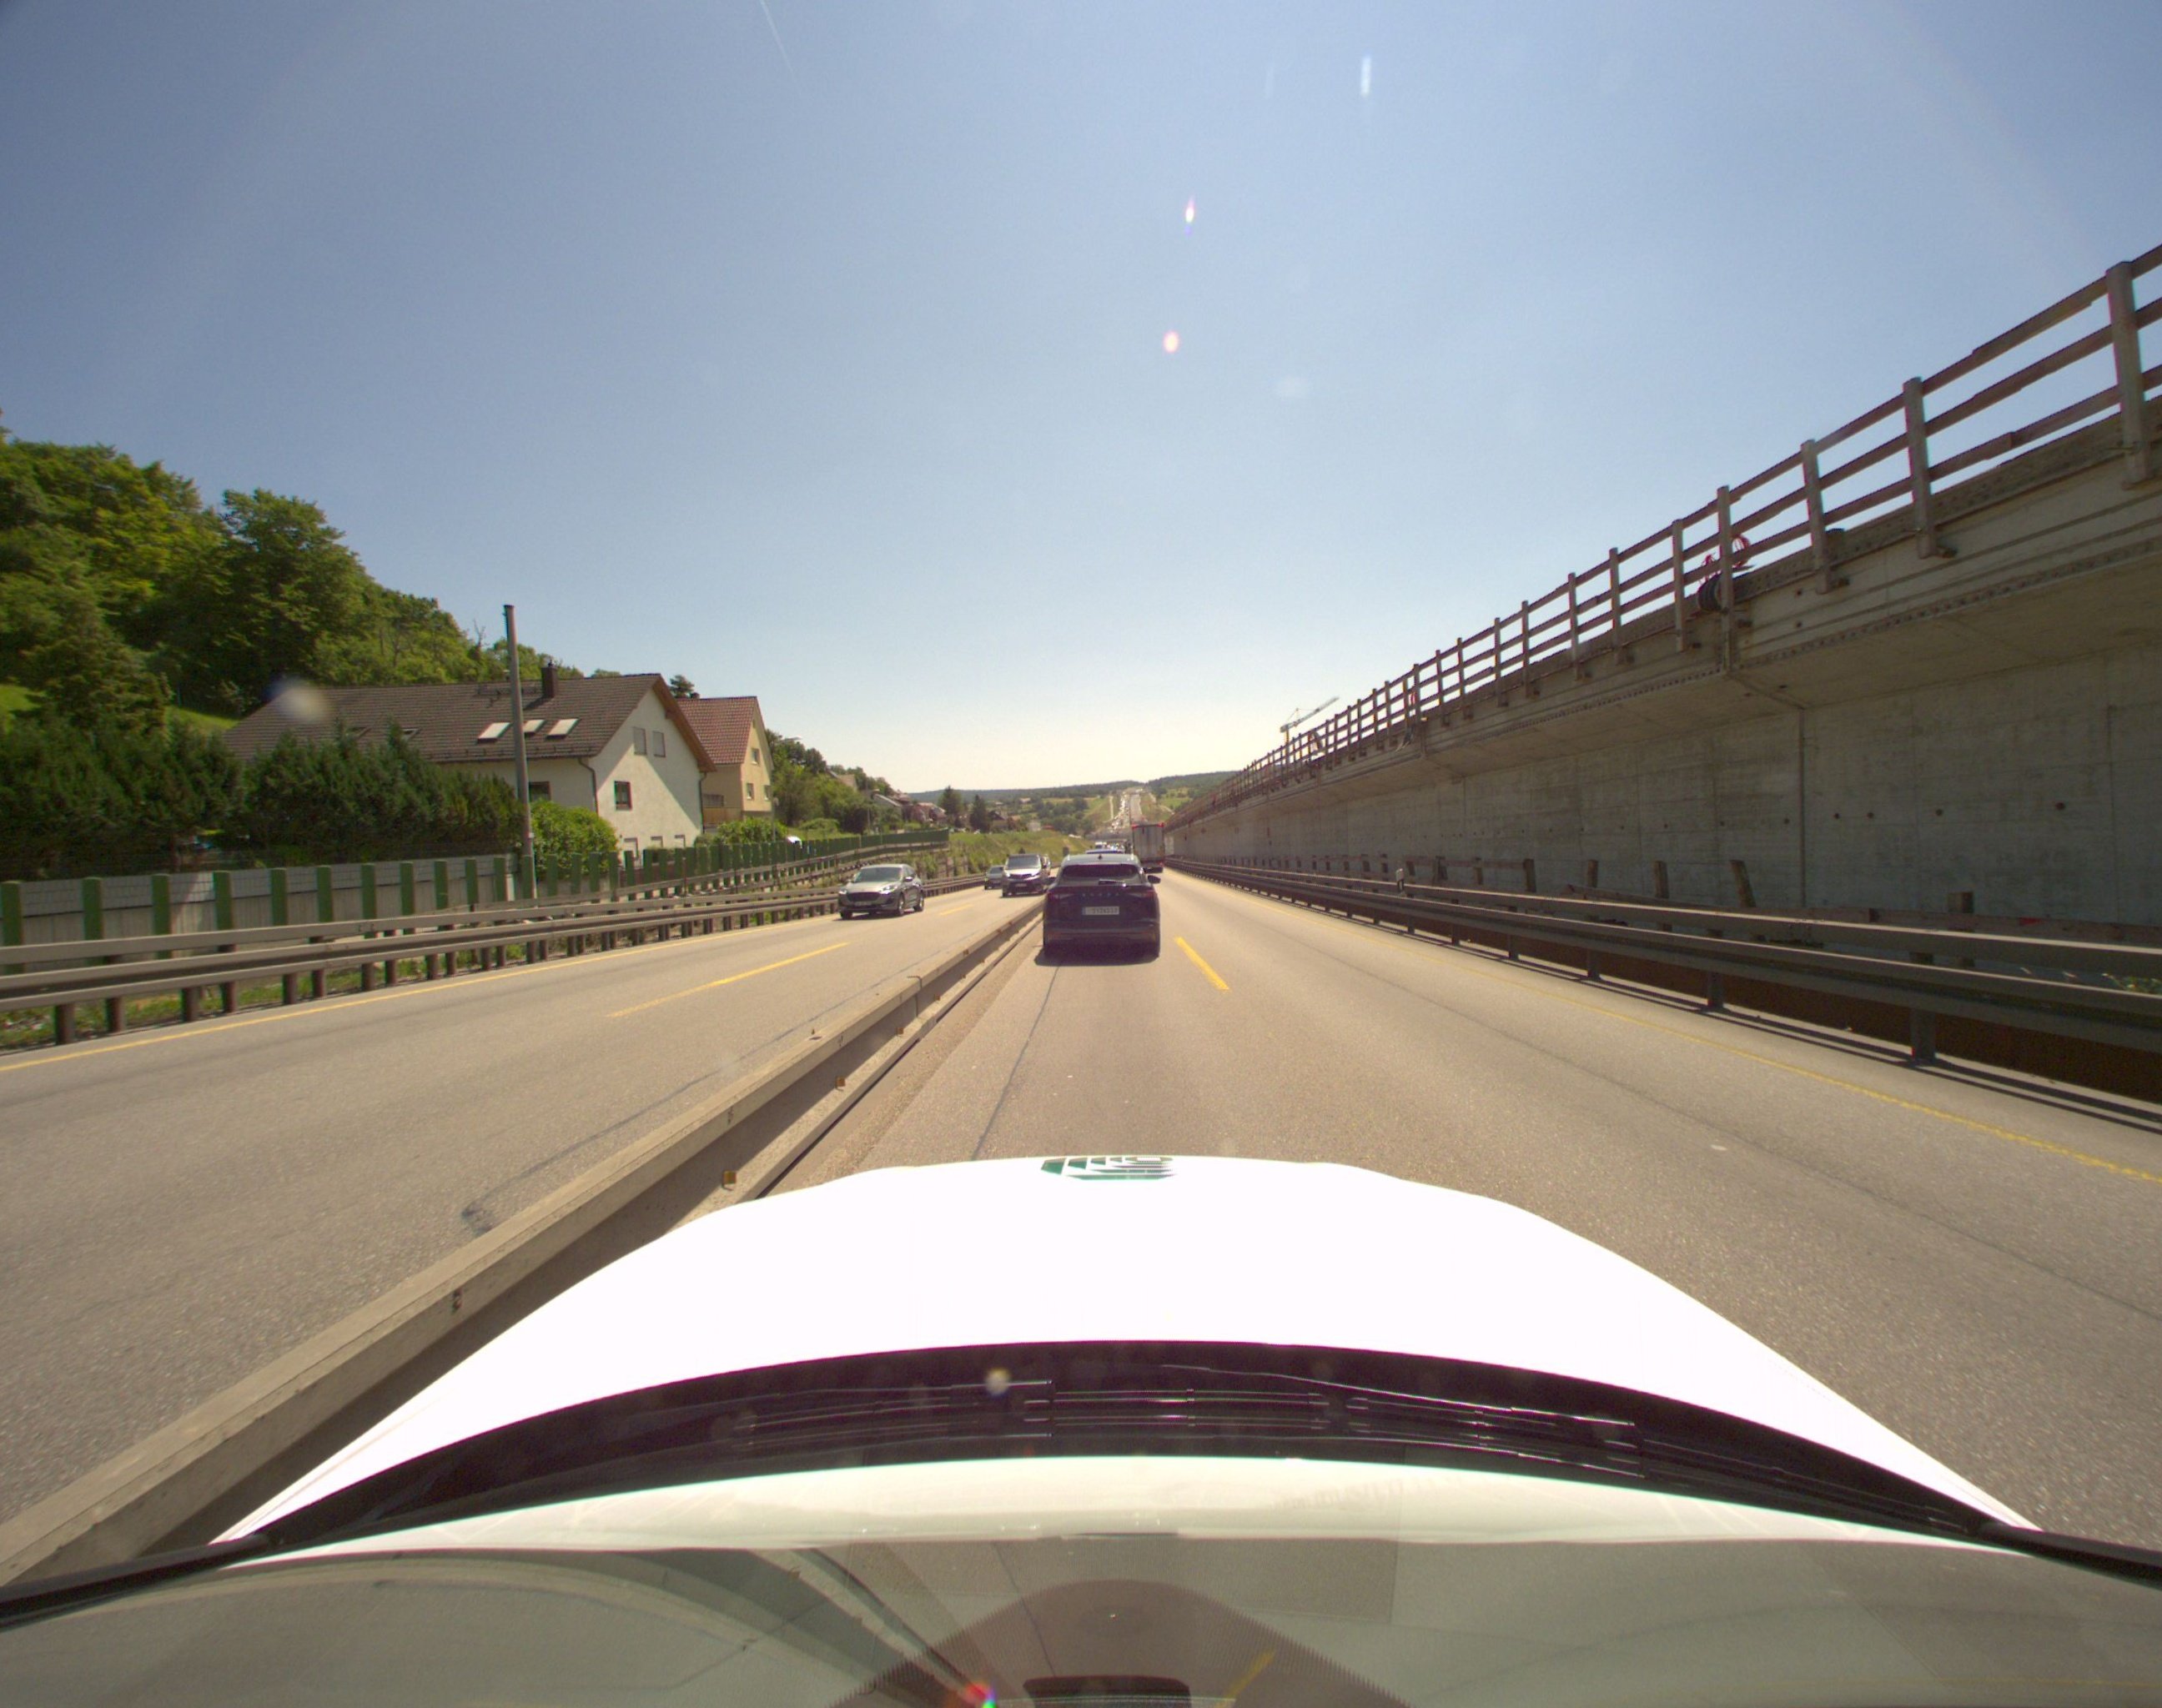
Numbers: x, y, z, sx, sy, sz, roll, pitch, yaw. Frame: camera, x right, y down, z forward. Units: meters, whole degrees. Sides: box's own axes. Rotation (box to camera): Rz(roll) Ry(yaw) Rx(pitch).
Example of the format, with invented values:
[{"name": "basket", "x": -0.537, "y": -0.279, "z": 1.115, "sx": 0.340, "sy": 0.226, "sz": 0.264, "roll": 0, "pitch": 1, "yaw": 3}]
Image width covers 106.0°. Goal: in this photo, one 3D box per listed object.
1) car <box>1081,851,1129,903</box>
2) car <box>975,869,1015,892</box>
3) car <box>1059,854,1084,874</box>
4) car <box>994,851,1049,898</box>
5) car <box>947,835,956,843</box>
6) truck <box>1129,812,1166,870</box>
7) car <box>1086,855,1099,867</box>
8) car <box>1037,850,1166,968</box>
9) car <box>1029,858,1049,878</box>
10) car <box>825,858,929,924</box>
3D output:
[{"name": "car", "x": 0.902, "y": 0.870, "z": 32.257, "sx": 1.743, "sy": 1.895, "sz": 3.755, "roll": -1, "pitch": -1, "yaw": 0}, {"name": "car", "x": -5.440, "y": 1.668, "z": 52.073, "sx": 1.986, "sy": 1.442, "sz": 4.365, "roll": 0, "pitch": -1, "yaw": 1}, {"name": "car", "x": -0.911, "y": 0.980, "z": 81.212, "sx": 2.149, "sy": 1.906, "sz": 5.328, "roll": -2, "pitch": -1, "yaw": 2}, {"name": "car", "x": -2.777, "y": 0.968, "z": 38.930, "sx": 1.986, "sy": 2.014, "sz": 4.971, "roll": -3, "pitch": -1, "yaw": 2}, {"name": "car", "x": -32.826, "y": -3.761, "z": 206.093, "sx": 1.924, "sy": 1.728, "sz": 3.989, "roll": -3, "pitch": 0, "yaw": -8}, {"name": "truck", "x": 5.788, "y": -0.974, "z": 72.464, "sx": 2.834, "sy": 4.615, "sz": 11.820, "roll": -3, "pitch": -1, "yaw": 3}, {"name": "car", "x": 1.736, "y": 1.035, "z": 123.271, "sx": 1.768, "sy": 1.633, "sz": 4.102, "roll": -2, "pitch": 0, "yaw": 2}, {"name": "car", "x": 0.349, "y": 0.806, "z": 13.625, "sx": 1.776, "sy": 1.597, "sz": 3.756, "roll": -3, "pitch": -1, "yaw": 2}, {"name": "car", "x": -4.180, "y": 1.403, "z": 82.436, "sx": 1.820, "sy": 1.926, "sz": 5.239, "roll": -2, "pitch": 0, "yaw": -2}, {"name": "car", "x": -6.310, "y": 1.103, "z": 25.798, "sx": 1.986, "sy": 1.827, "sz": 4.509, "roll": -3, "pitch": -1, "yaw": 1}]
